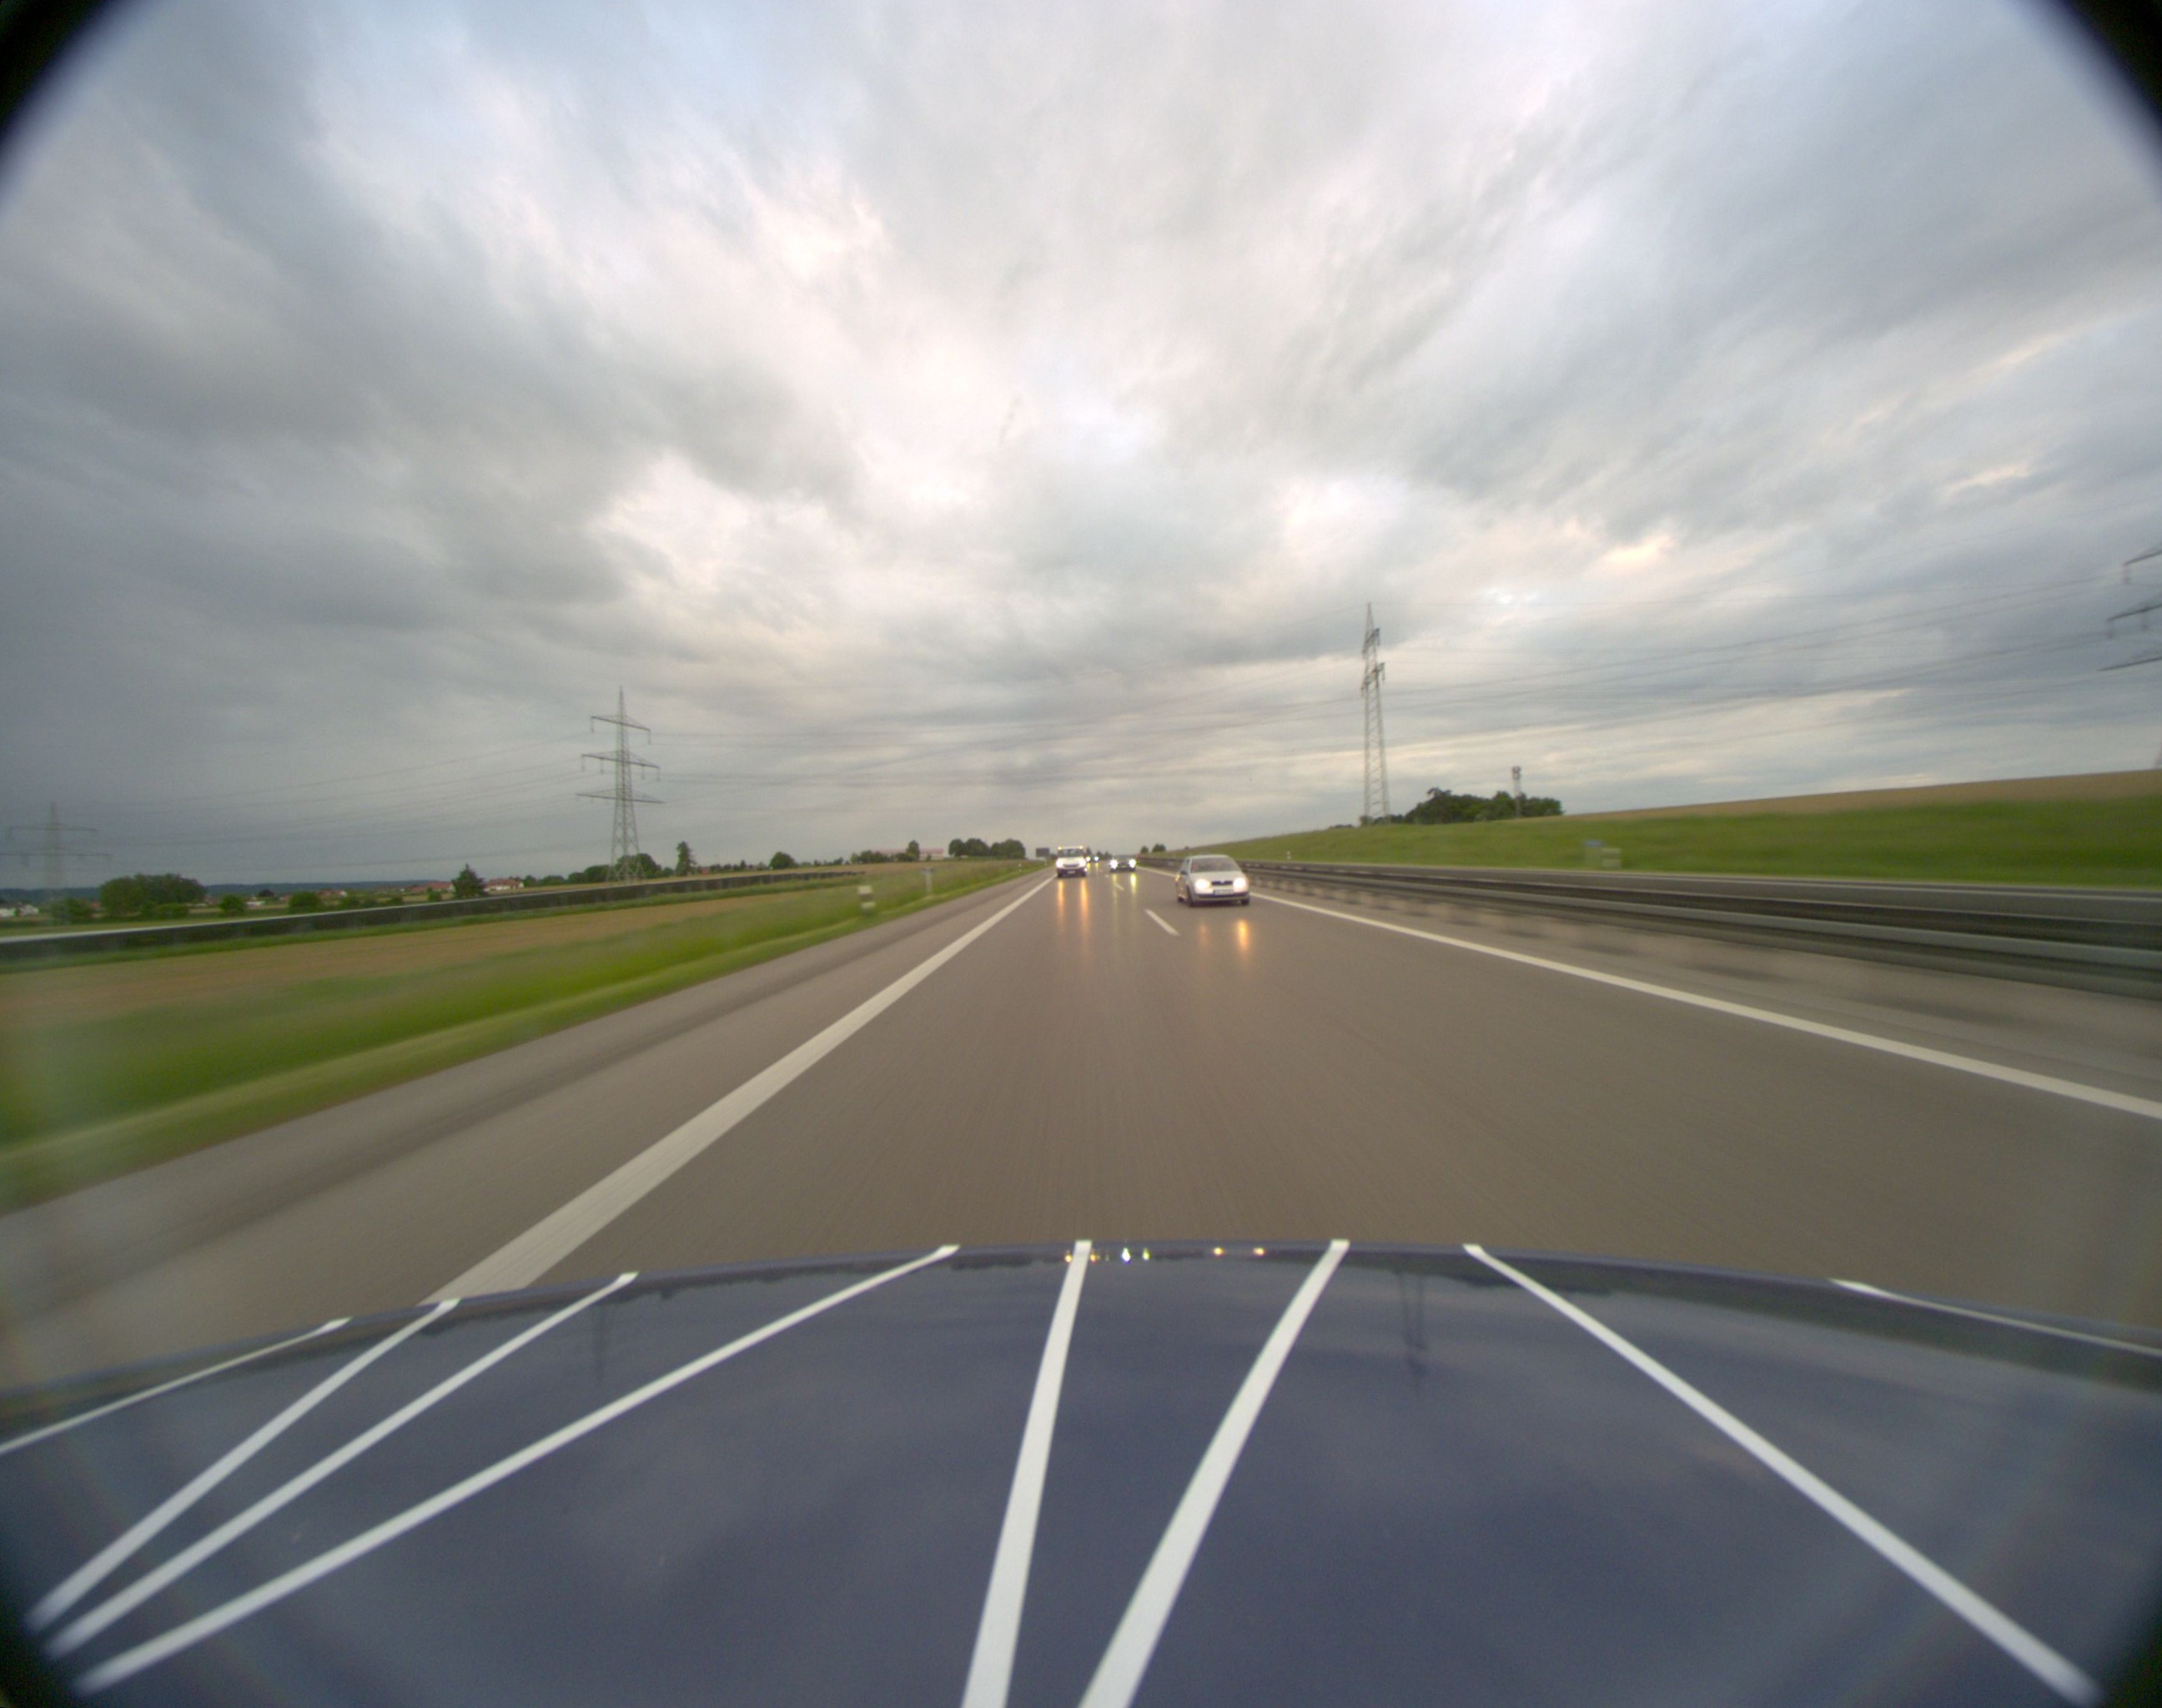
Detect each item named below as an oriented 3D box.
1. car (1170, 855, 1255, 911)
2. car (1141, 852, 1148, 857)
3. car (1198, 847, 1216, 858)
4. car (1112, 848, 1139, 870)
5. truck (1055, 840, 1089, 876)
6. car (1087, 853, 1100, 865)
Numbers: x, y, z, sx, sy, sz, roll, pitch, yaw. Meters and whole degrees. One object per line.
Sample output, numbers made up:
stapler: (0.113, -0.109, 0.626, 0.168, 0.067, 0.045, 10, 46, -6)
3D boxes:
car: (3.682, 0.747, 21.972, 1.592, 1.381, 4.601, -1, 0, -1)
car: (18.248, 0.170, 219.442, 1.532, 1.425, 4.434, -4, 0, 0)
car: (17.326, -0.148, 104.448, 1.678, 1.352, 4.011, -5, 0, 0)
car: (3.645, 0.394, 62.860, 1.951, 1.620, 4.536, -2, 0, 1)
truck: (-0.665, 0.287, 55.789, 2.177, 2.346, 7.696, -4, 0, -1)
car: (2.189, 0.912, 137.170, 1.999, 2.002, 4.460, -4, 0, -1)
